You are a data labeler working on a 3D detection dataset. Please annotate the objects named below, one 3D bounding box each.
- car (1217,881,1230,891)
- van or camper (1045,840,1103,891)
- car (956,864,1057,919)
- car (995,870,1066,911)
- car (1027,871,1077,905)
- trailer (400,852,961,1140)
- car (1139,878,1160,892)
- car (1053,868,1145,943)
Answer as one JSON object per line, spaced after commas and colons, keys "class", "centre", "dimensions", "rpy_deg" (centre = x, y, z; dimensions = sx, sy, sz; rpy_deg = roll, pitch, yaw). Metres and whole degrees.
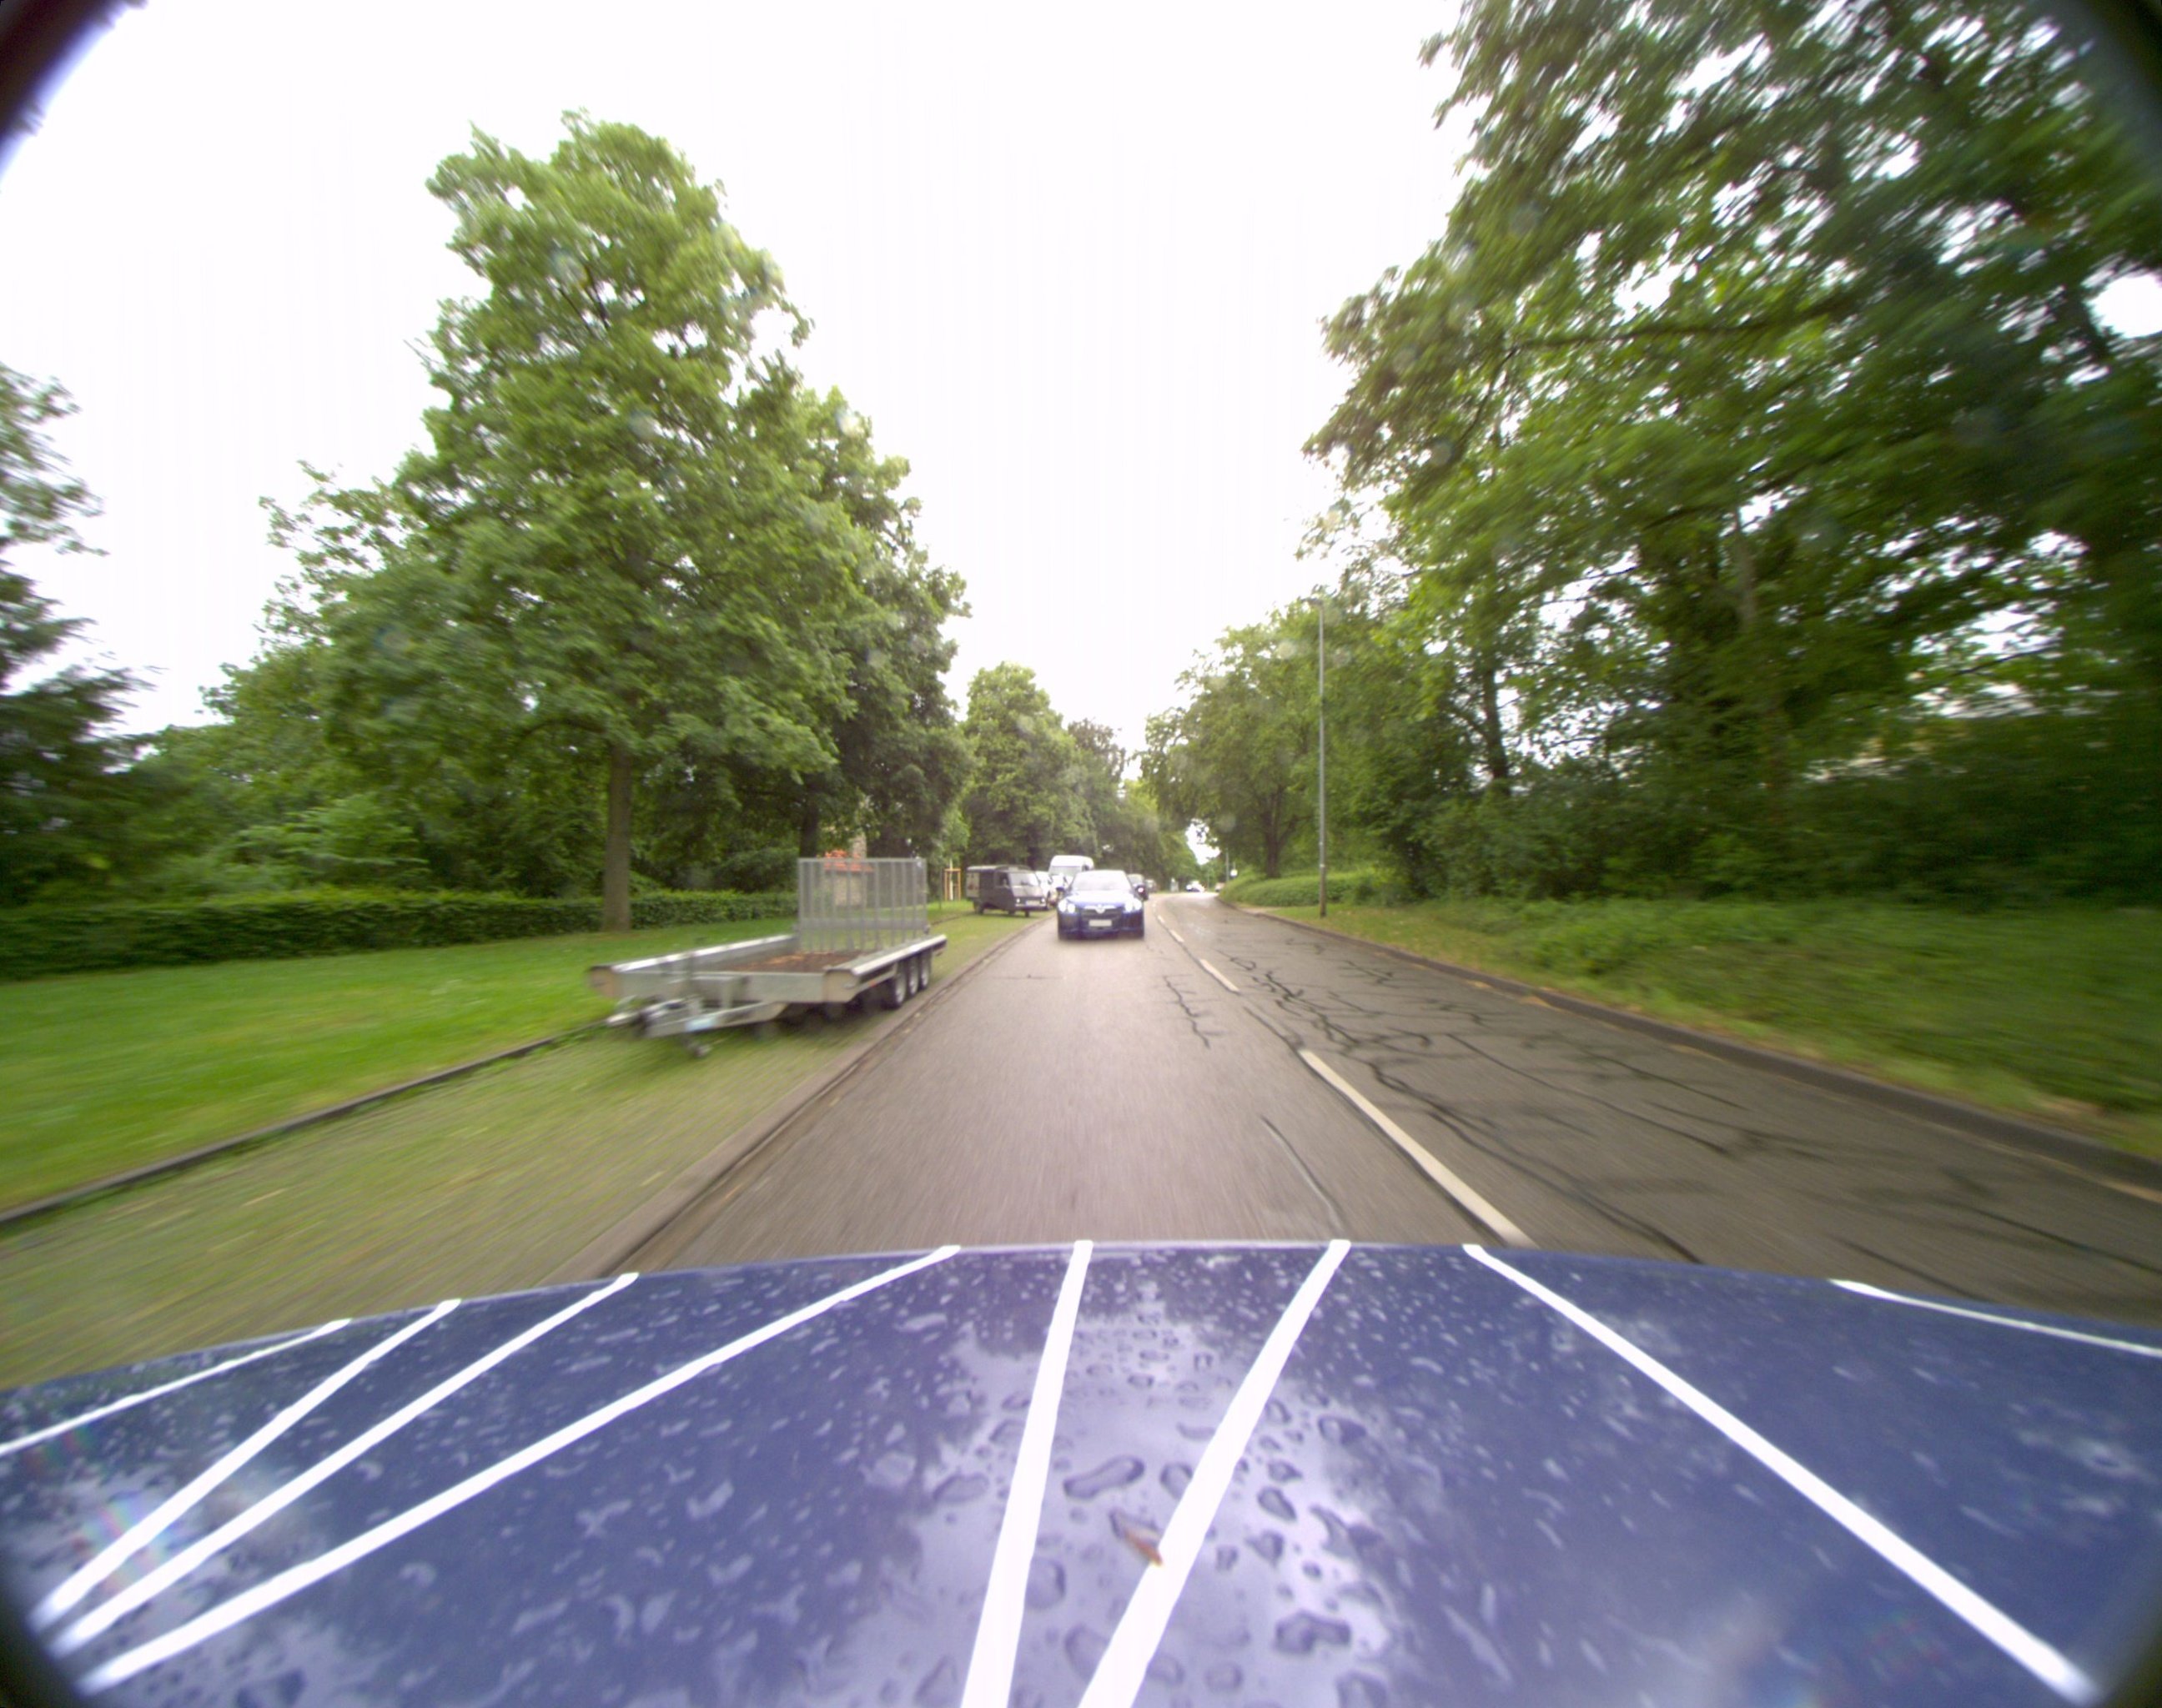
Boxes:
{"class": "car", "centre": [21.984, 4.939, 116.973], "dimensions": [1.668, 1.468, 3.737], "rpy_deg": [1, -2, 14]}
{"class": "van or camper", "centre": [-0.229, 0.789, 43.999], "dimensions": [2.020, 2.566, 8.445], "rpy_deg": [-2, -3, 8]}
{"class": "car", "centre": [-2.597, 1.203, 25.738], "dimensions": [1.615, 1.671, 3.996], "rpy_deg": [1, -1, -36]}
{"class": "car", "centre": [-1.923, 1.433, 30.485], "dimensions": [1.997, 1.488, 4.570], "rpy_deg": [0, -2, 7]}
{"class": "car", "centre": [-1.318, 1.607, 36.565], "dimensions": [1.809, 1.529, 4.270], "rpy_deg": [1, -2, 6]}
{"class": "trailer", "centre": [-2.978, 0.886, 7.702], "dimensions": [2.455, 1.802, 5.892], "rpy_deg": [0, 0, 1]}
{"class": "car", "centre": [7.336, 3.313, 81.172], "dimensions": [1.703, 1.452, 4.223], "rpy_deg": [0, -2, 13]}
{"class": "car", "centre": [0.527, 1.148, 17.483], "dimensions": [1.838, 1.501, 4.004], "rpy_deg": [-1, -3, 5]}
